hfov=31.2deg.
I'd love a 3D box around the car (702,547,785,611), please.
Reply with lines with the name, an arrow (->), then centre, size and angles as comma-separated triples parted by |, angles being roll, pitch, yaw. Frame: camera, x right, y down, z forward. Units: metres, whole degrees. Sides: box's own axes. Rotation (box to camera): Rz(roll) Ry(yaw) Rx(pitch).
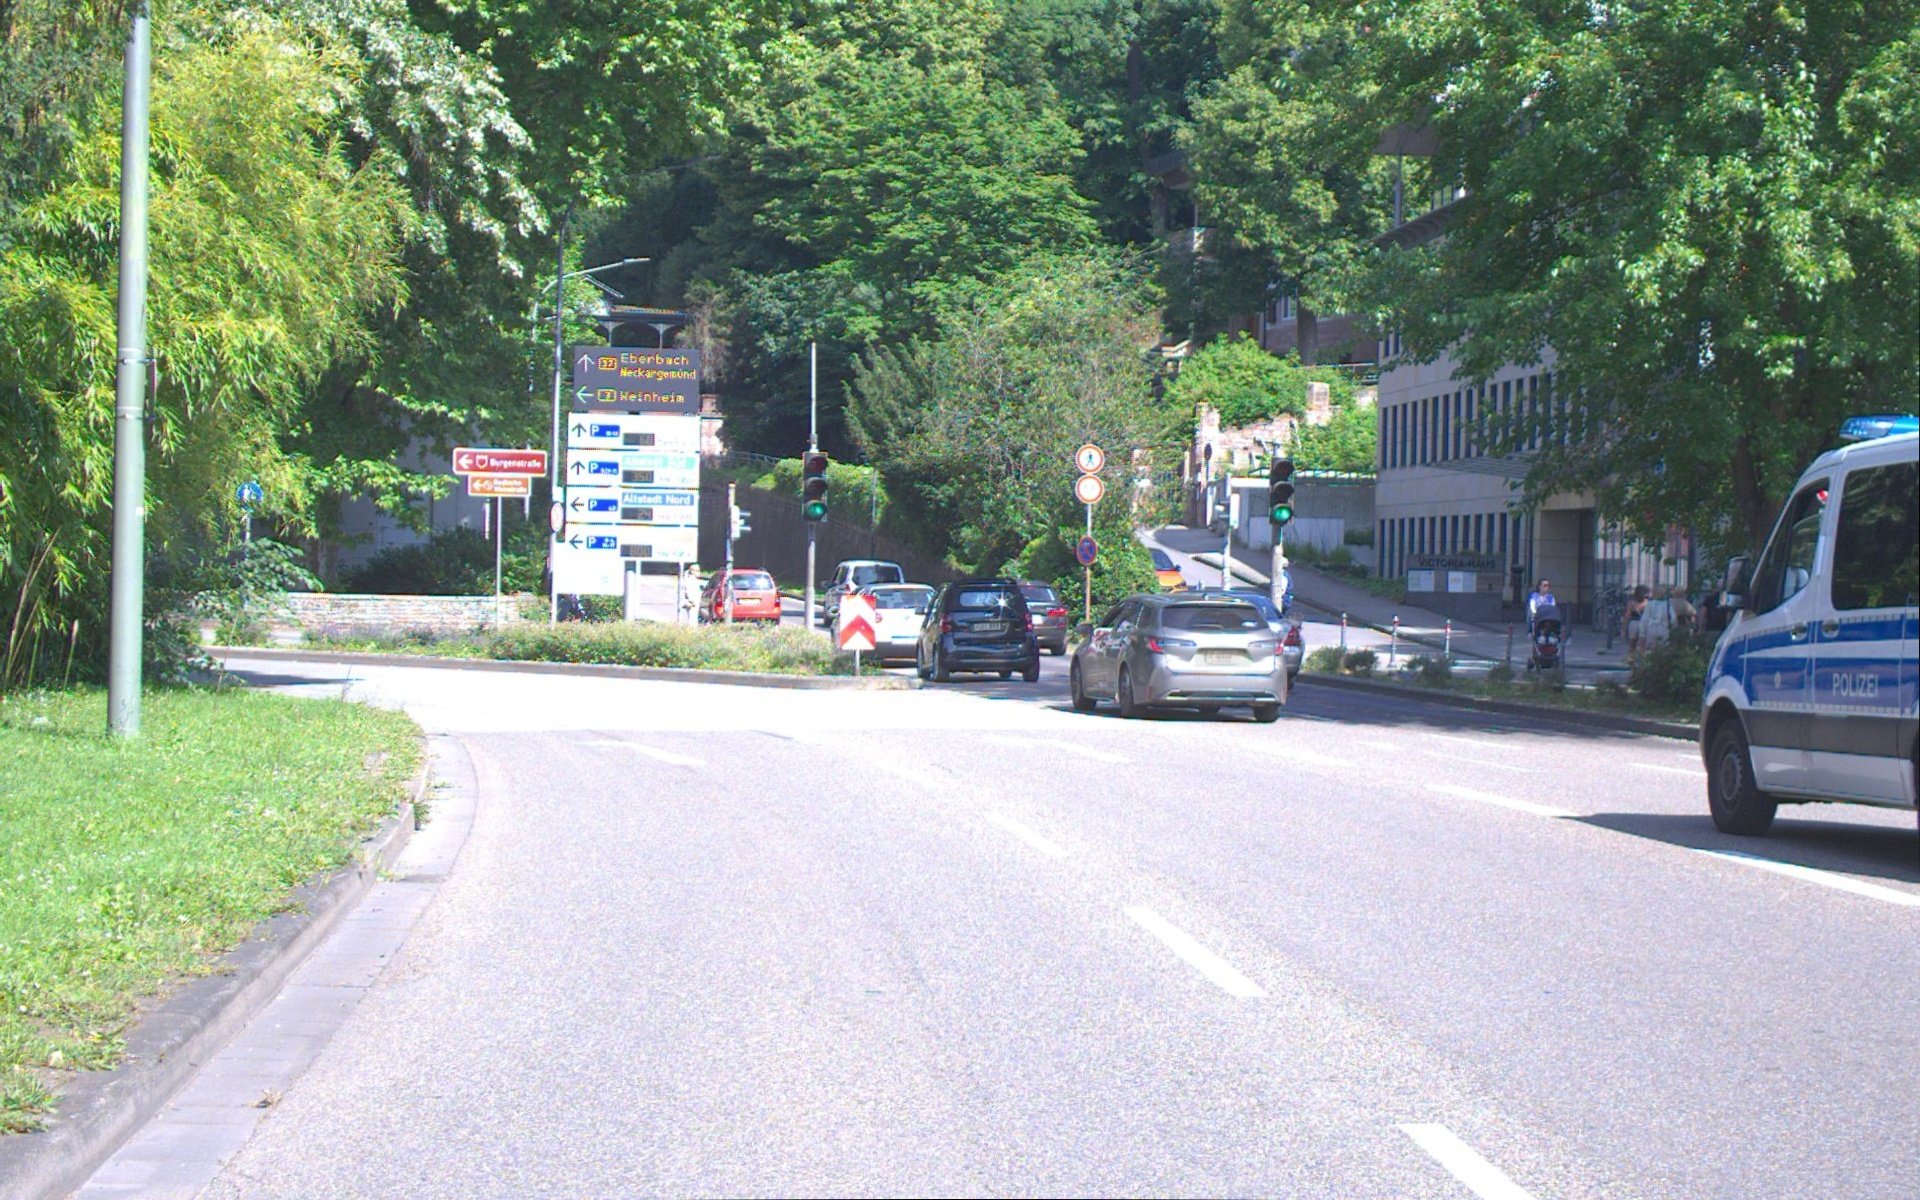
car -> -5.246, -0.517, 82.825 | 1.756, 1.456, 3.495 | 2, 1, -7

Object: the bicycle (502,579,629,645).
bicycle -> -6.957, 0.204, 60.673 | 2.078, 1.109, 0.756 | 2, 1, 18

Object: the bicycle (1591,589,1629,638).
bicycle -> 13.674, 0.284, 72.377 | 0.405, 1.009, 1.341 | 1, 1, -6

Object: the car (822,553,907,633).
car -> -2.426, -0.202, 86.589 | 1.756, 1.931, 3.495 | 2, 1, -7

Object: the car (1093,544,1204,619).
car -> 4.408, -0.440, 81.067 | 1.931, 1.691, 4.001 | 1, 0, -7

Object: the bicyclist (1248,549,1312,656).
bicyclist -> 5.875, 0.045, 63.081 | 1.126, 1.926, 0.748 | 1, 0, 6

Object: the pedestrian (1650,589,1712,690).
pedestrian -> 12.140, 0.655, 57.926 | 0.771, 1.657, 0.829 | 2, 1, -5

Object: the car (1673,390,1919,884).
car -> 5.741, 0.205, 18.676 | 2.073, 2.500, 4.930 | 2, 0, -7

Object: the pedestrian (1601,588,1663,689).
pedestrian -> 11.356, 0.643, 58.079 | 0.771, 1.657, 0.829 | 2, 1, -6

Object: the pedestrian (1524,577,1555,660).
pedestrian -> 10.200, 0.326, 60.520 | 0.489, 1.453, 0.734 | 1, 0, 12

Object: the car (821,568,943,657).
car -> -1.405, 0.199, 60.414 | 1.756, 1.456, 3.646 | 2, 1, -7

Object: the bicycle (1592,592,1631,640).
bicycle -> 13.361, 0.324, 70.538 | 0.405, 0.938, 1.341 | 1, 1, -6

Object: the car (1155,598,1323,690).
car -> 4.049, 0.625, 50.356 | 1.756, 1.209, 3.495 | 2, 1, -7

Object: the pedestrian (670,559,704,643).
pedestrian -> -5.279, 0.019, 66.501 | 0.547, 1.615, 0.634 | 1, 1, 3

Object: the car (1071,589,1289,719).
car -> 2.457, 0.584, 39.270 | 1.756, 1.329, 3.802 | 2, 1, -7

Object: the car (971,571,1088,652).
car -> 1.338, 0.205, 67.265 | 1.756, 1.456, 3.646 | 2, 1, -7

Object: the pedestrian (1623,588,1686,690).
pedestrian -> 11.525, 0.640, 57.054 | 0.771, 1.657, 0.829 | 2, 1, -6

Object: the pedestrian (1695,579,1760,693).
pedestrian -> 12.666, 0.587, 56.777 | 0.771, 1.848, 0.829 | 2, 1, -6

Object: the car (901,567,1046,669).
car -> 0.174, 0.253, 52.818 | 1.756, 1.456, 3.495 | 2, 1, -7

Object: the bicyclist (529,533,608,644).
bicyclist -> -6.912, -0.206, 60.669 | 1.127, 1.926, 0.747 | 1, 0, 19
